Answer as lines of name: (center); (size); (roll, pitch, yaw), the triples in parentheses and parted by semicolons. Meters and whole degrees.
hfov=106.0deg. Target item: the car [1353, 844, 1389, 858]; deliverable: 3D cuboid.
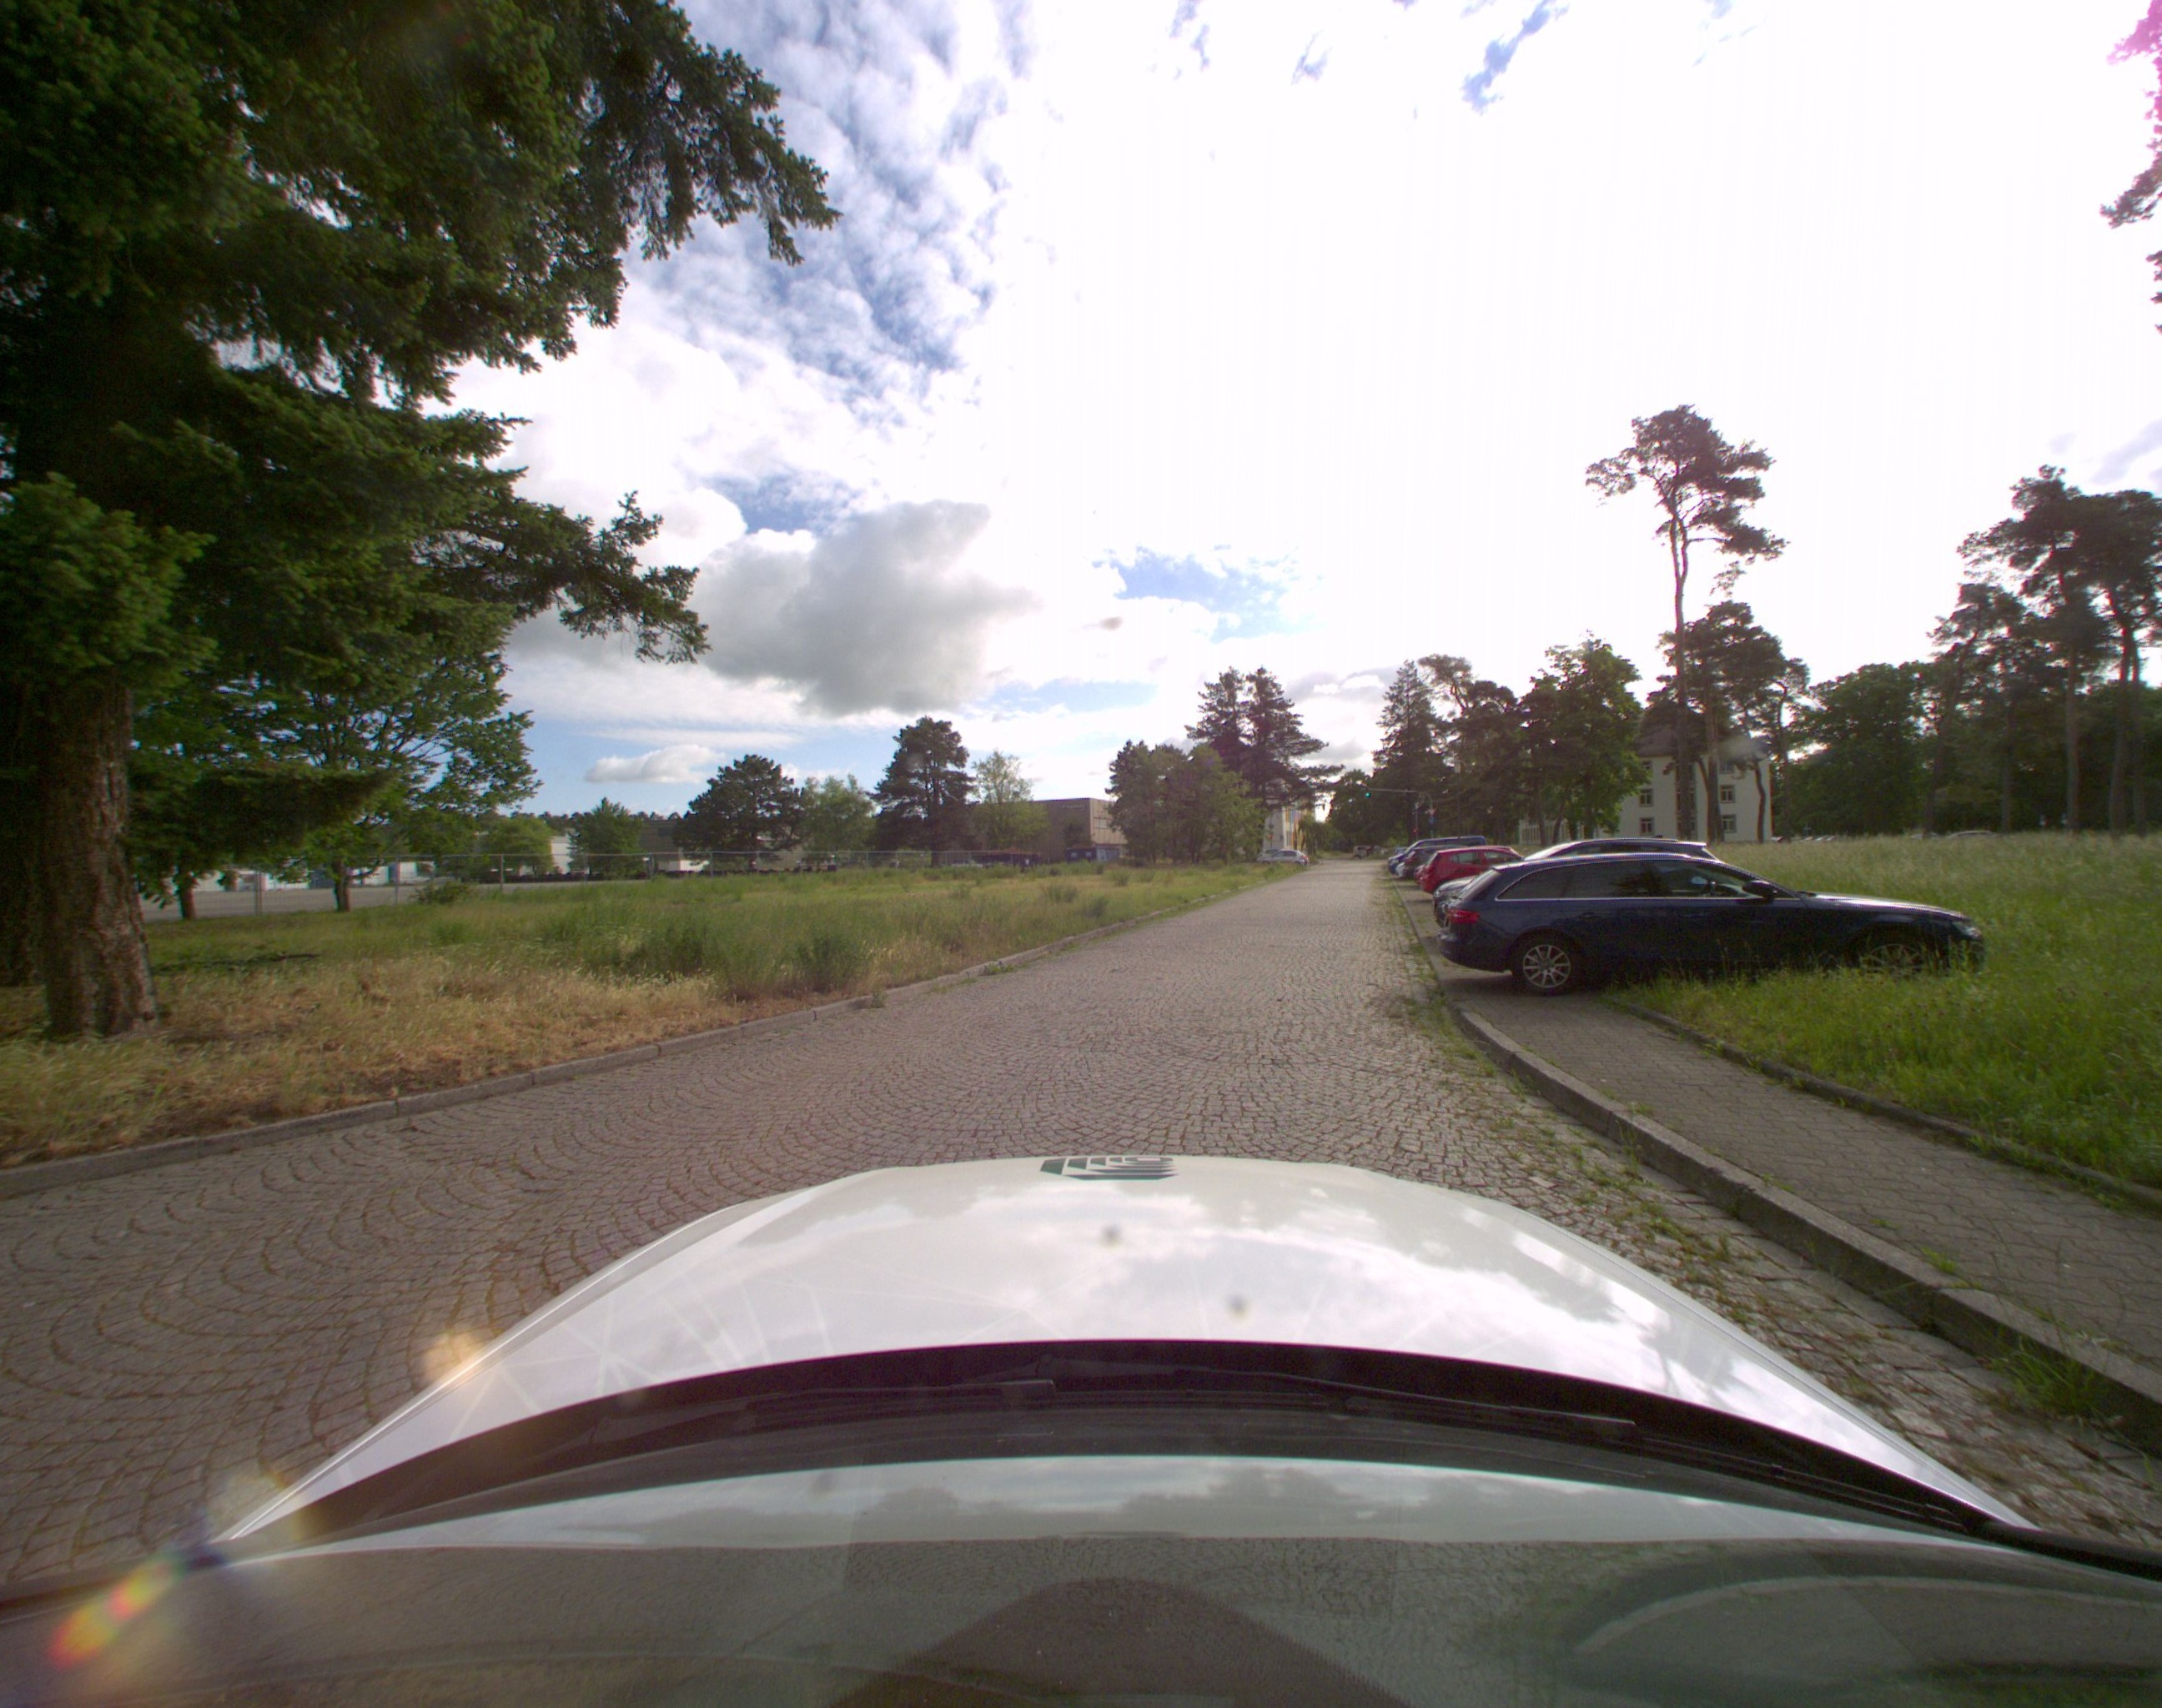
car: (45.486, -0.473, 127.943); (5.020, 2.013, 2.005); (-1, 0, 9)

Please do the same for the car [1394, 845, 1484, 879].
car: (16.982, 0.371, 38.769); (3.693, 1.424, 1.662); (-3, -1, 17)

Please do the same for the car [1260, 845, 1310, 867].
car: (17.186, 0.182, 68.642); (3.958, 1.706, 2.008); (-2, 0, 14)

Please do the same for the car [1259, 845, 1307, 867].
car: (17.746, 0.173, 71.587); (3.959, 1.750, 1.934); (-1, 0, 13)

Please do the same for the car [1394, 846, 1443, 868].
car: (26.272, 0.225, 63.516); (3.364, 1.543, 1.396); (-2, 0, 14)

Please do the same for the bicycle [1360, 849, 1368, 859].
bicycle: (37.464, -0.055, 107.775); (0.803, 1.268, 1.983); (-2, 0, 21)

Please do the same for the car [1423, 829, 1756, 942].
car: (7.951, 0.511, 13.256); (4.227, 1.573, 1.905); (-3, 0, 19)

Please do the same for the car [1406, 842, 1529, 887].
car: (14.251, 0.392, 30.251); (3.954, 1.518, 1.747); (-2, 0, 20)

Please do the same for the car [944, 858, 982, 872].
car: (-13.861, 1.266, 95.596); (3.954, 1.553, 1.817); (-2, 0, 19)

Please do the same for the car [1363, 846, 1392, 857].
car: (45.269, -0.360, 124.523); (3.958, 1.644, 2.008); (-1, 0, 14)

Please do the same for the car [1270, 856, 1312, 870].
car: (18.936, 0.803, 73.580); (3.644, 1.094, 1.652); (-2, 0, 14)

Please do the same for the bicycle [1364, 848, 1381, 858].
bicycle: (40.299, -0.139, 112.694); (2.145, 1.268, 0.815); (-1, 0, 13)

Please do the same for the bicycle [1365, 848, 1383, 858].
bicycle: (39.922, -0.149, 110.908); (2.145, 1.268, 0.815); (-1, 0, 13)

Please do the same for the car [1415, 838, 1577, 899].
car: (11.538, 0.414, 22.933); (3.808, 1.505, 1.746); (-3, 0, 19)

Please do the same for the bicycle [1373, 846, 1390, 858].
bicycle: (41.229, -0.325, 111.826); (2.145, 1.616, 0.815); (-1, 0, 13)

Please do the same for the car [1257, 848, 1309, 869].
car: (16.412, 0.359, 66.223); (3.958, 1.552, 2.008); (-2, 0, 14)

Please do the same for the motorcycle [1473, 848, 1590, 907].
motorcycle: (10.343, 0.547, 18.763); (2.248, 1.275, 0.608); (-2, -1, 15)

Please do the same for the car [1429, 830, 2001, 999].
car: (6.227, 0.619, 8.783); (4.465, 1.464, 1.906); (-3, 0, 23)

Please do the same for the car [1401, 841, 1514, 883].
car: (15.018, 0.317, 32.675); (3.918, 1.580, 1.770); (-1, 0, 18)

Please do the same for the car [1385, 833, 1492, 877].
car: (17.927, 0.067, 41.088); (4.744, 2.040, 1.746); (-2, 0, 18)
